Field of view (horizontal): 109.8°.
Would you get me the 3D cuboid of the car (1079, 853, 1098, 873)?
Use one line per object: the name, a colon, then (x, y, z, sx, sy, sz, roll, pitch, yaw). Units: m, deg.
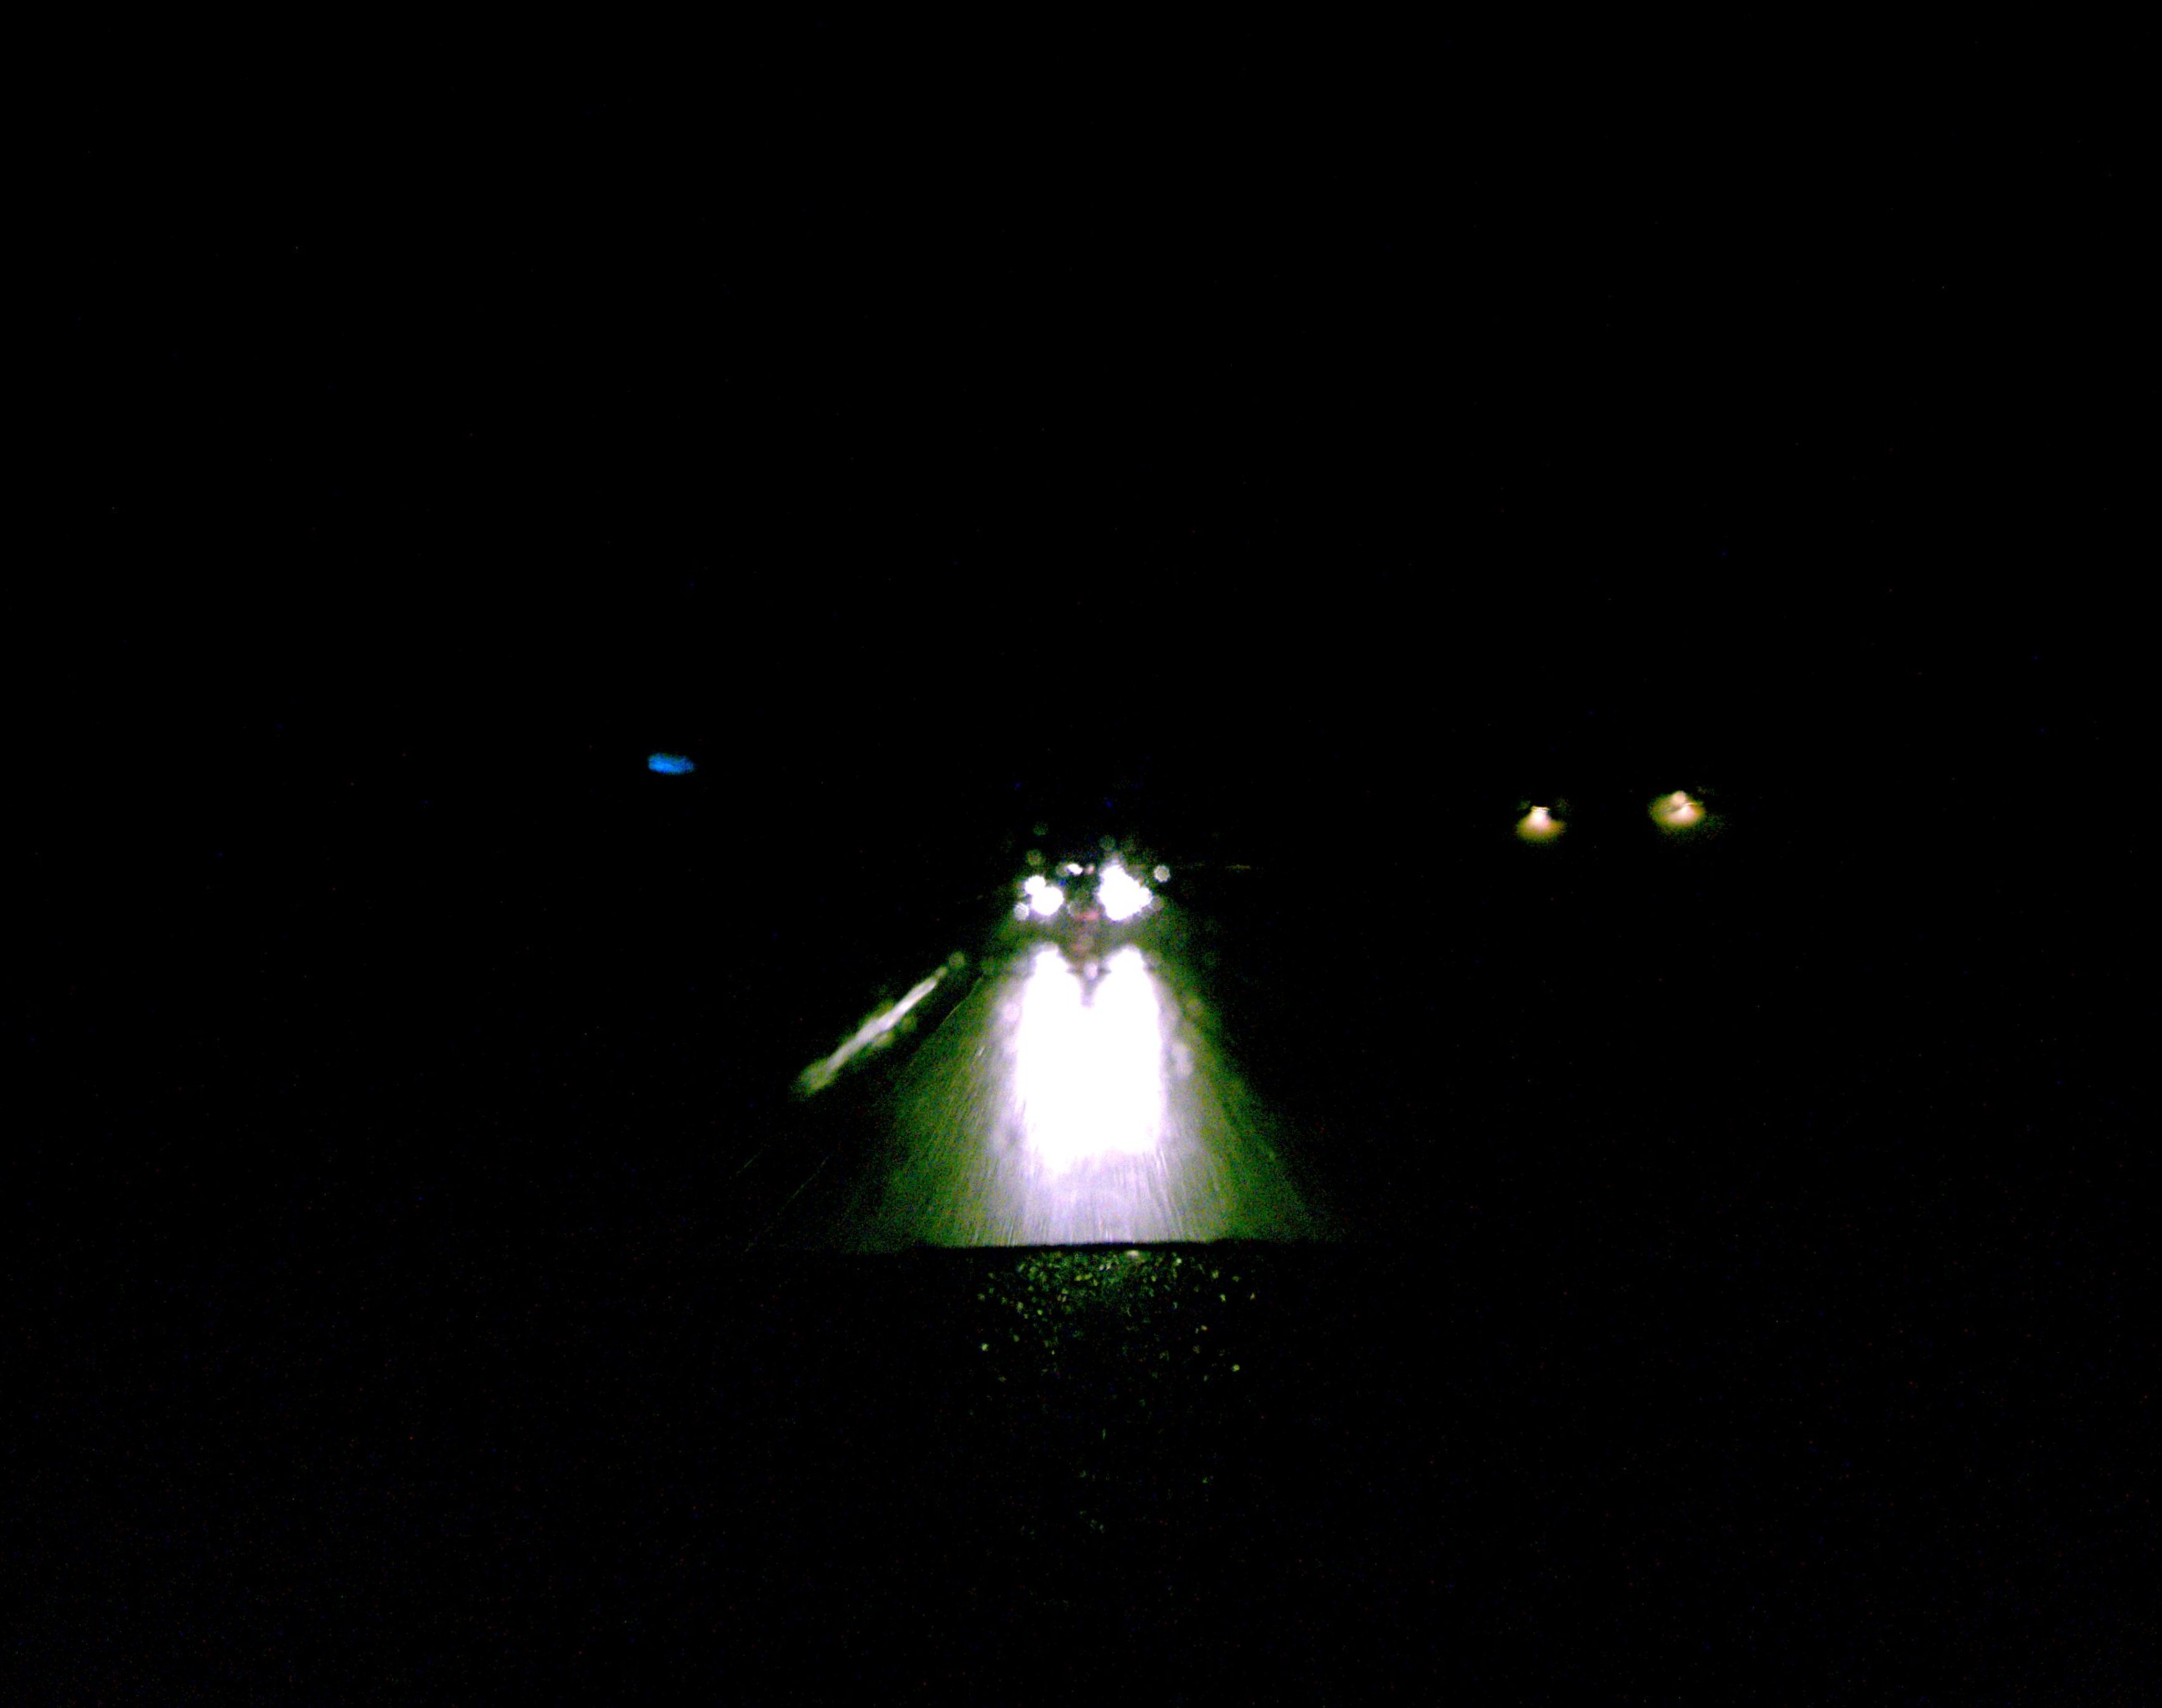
car: (0.810, 0.896, 76.656, 1.759, 1.807, 4.710, -3, 0, 2)

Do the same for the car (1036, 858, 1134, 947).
car: (0.088, 0.929, 16.769, 1.810, 1.590, 4.786, -2, 0, 0)
